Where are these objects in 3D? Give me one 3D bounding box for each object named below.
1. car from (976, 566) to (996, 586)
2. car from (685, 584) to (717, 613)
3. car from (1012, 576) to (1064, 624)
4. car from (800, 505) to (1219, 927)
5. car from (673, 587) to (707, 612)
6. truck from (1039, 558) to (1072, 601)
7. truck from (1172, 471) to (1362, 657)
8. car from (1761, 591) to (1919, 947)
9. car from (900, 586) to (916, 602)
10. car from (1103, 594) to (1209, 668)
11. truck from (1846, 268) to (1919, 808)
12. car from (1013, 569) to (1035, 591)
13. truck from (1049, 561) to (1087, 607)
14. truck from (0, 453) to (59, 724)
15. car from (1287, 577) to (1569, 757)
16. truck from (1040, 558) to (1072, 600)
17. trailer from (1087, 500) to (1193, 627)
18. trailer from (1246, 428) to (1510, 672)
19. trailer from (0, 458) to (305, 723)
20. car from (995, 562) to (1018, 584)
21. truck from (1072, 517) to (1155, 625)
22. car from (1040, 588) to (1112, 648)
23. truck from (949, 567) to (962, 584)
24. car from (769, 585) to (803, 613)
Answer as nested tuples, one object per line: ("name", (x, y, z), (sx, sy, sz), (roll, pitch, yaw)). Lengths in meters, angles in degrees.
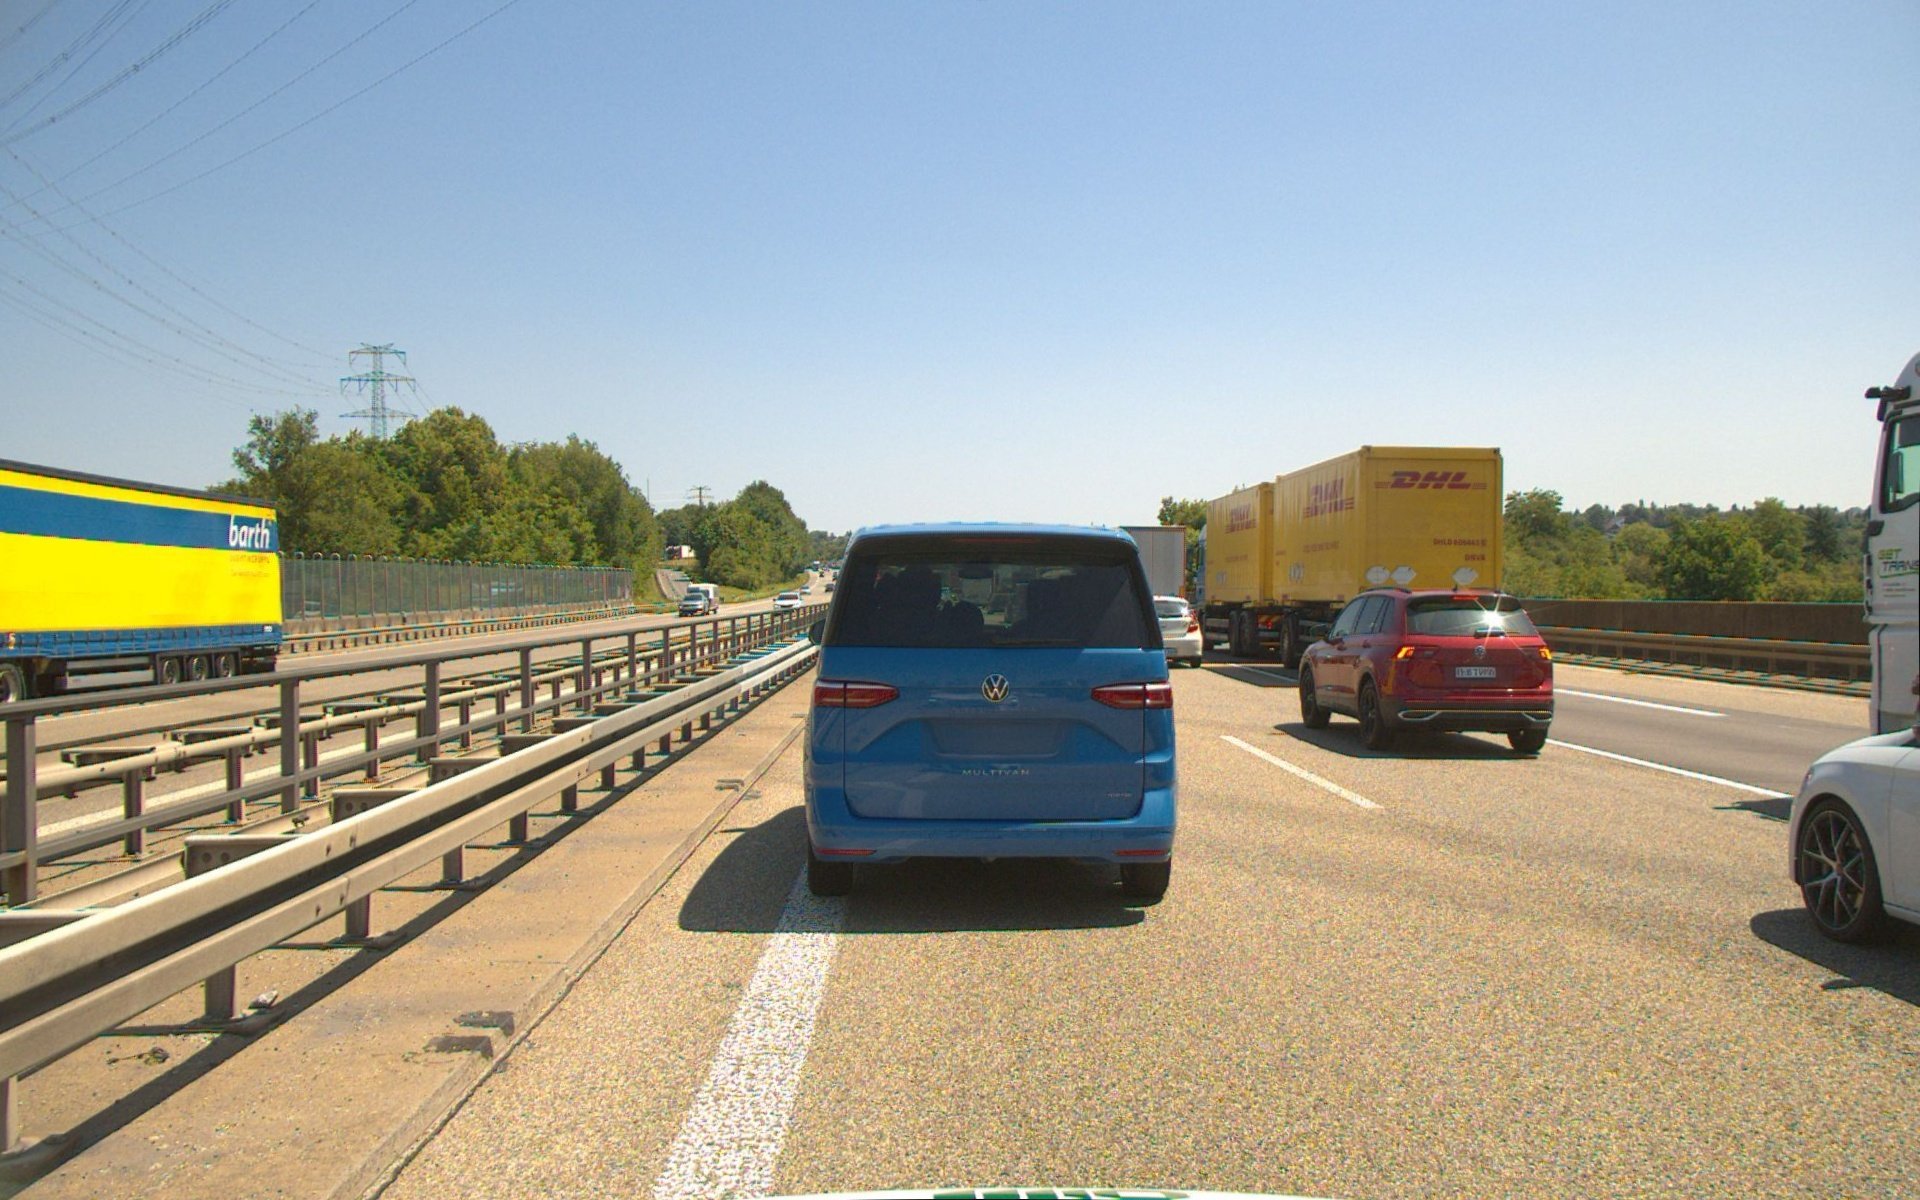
("car", (2.786, -2.555, 178.371), (1.953, 2.049, 3.999), (1, 0, -1))
("car", (-19.369, -0.100, 123.950), (1.805, 2.077, 3.942), (1, 0, -1))
("car", (3.275, 0.011, 69.827), (1.922, 1.970, 3.931), (1, 0, -1))
("car", (0.191, 0.546, 9.573), (1.891, 1.906, 3.999), (1, 0, -1))
("car", (-19.203, -0.026, 117.836), (1.805, 1.782, 3.942), (1, 0, -1))
("truck", (5.949, -1.263, 103.005), (1.706, 2.593, 4.209), (1, 0, -1))
("truck", (7.597, -0.789, 42.436), (2.645, 4.159, 9.935), (1, 0, -2))
("car", (4.861, 0.728, 5.978), (1.674, 1.477, 4.428), (1, 0, -2))
("car", (-6.695, -0.751, 211.482), (1.953, 2.049, 3.999), (1, 0, -1))
("car", (4.210, 0.645, 36.045), (1.778, 1.496, 3.931), (1, 0, -1))
("truck", (8.618, -0.470, 7.947), (2.794, 4.003, 10.606), (1, 0, -2))
("car", (5.425, -1.718, 140.424), (1.565, 1.782, 3.942), (1, 0, -1))
("truck", (6.148, -0.883, 94.284), (1.761, 2.492, 4.503), (1, 0, -1))
("truck", (-16.399, -0.184, 24.538), (2.617, 4.258, 6.287), (-1, 0, 0))
("car", (4.931, 0.627, 18.057), (1.674, 1.708, 4.282), (1, 0, -3))
("truck", (6.267, -1.338, 108.301), (1.760, 2.641, 4.304), (1, 0, -1))
("trailer", (7.152, -1.333, 67.330), (2.965, 4.692, 10.922), (1, 0, -1))
("trailer", (7.991, -0.836, 33.020), (2.629, 4.159, 8.976), (1, 0, -2))
("trailer", (-16.430, -0.111, 31.296), (2.574, 4.186, 14.014), (0, 0, 0))
("car", (4.460, -2.587, 159.284), (1.953, 2.049, 3.999), (1, 0, -1))
("truck", (7.019, -1.262, 76.766), (2.965, 4.692, 7.919), (1, 0, -1))
("car", (3.418, 0.525, 49.327), (1.778, 1.708, 3.931), (1, 0, -1))
("truck", (-0.752, -3.833, 260.364), (1.953, 2.630, 4.552), (1, 0, -1))
("car", (-11.218, -0.066, 106.926), (1.805, 1.782, 3.942), (1, 0, -1))
